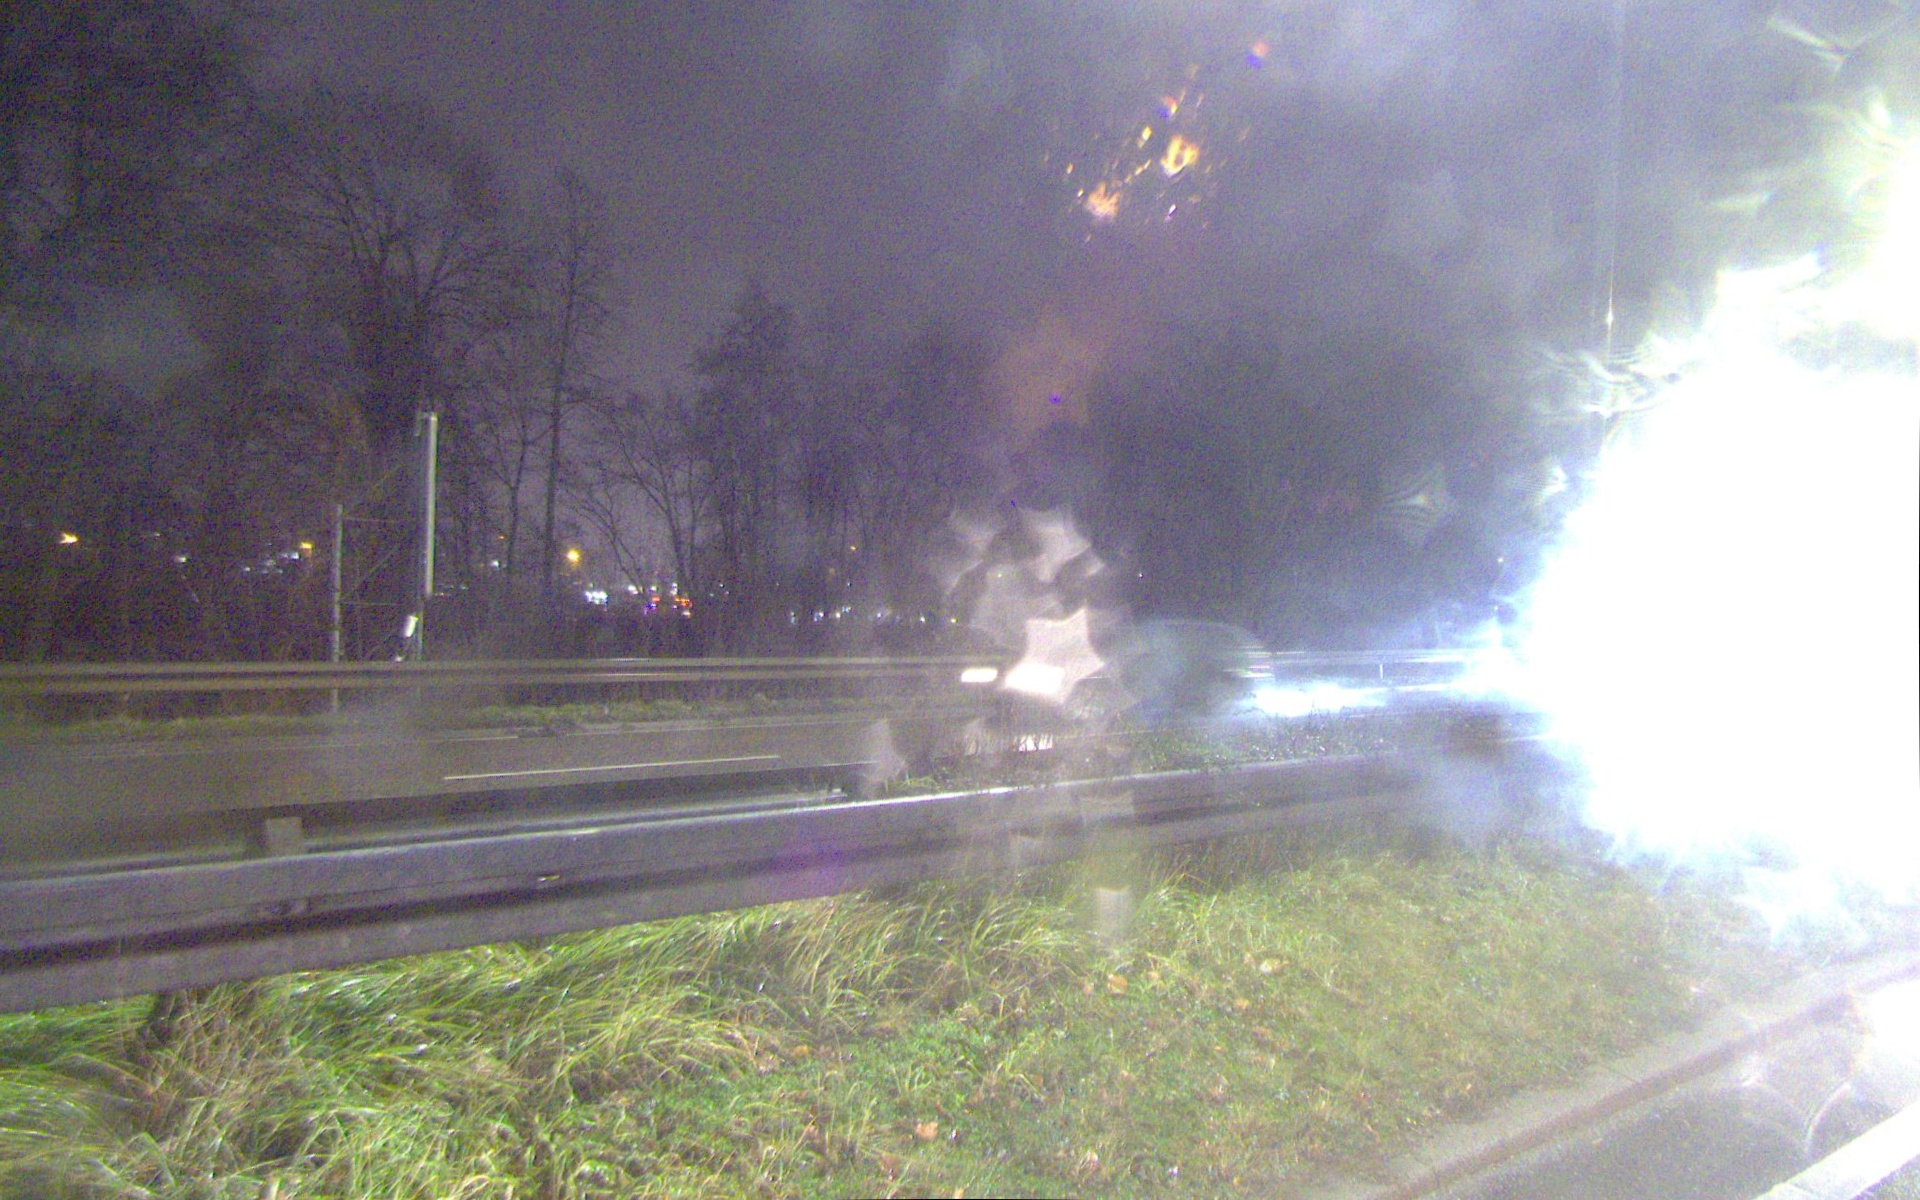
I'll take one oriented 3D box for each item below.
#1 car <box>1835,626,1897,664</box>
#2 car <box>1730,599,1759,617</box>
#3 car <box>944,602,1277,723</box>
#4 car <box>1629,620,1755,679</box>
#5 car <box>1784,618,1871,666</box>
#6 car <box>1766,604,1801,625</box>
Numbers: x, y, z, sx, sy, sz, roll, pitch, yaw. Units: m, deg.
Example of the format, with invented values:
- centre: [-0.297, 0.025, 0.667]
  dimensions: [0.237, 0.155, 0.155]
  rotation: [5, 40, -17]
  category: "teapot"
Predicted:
- centre: [41.972, 2.041, 46.489]
  dimensions: [4.219, 1.653, 1.749]
  rotation: [1, 0, -43]
  category: "car"
- centre: [69.730, 0.747, 89.297]
  dimensions: [1.717, 1.522, 3.988]
  rotation: [2, 0, 34]
  category: "car"
- centre: [2.301, 0.910, 14.886]
  dimensions: [4.787, 1.528, 1.983]
  rotation: [2, -4, -33]
  category: "car"
- centre: [19.924, 1.279, 27.277]
  dimensions: [4.629, 1.442, 1.697]
  rotation: [1, 0, -40]
  category: "car"
- centre: [31.893, 1.538, 36.897]
  dimensions: [4.216, 1.629, 1.853]
  rotation: [2, -1, -41]
  category: "car"
- centre: [61.503, 1.072, 75.081]
  dimensions: [1.776, 1.502, 3.802]
  rotation: [2, 0, 36]
  category: "car"
